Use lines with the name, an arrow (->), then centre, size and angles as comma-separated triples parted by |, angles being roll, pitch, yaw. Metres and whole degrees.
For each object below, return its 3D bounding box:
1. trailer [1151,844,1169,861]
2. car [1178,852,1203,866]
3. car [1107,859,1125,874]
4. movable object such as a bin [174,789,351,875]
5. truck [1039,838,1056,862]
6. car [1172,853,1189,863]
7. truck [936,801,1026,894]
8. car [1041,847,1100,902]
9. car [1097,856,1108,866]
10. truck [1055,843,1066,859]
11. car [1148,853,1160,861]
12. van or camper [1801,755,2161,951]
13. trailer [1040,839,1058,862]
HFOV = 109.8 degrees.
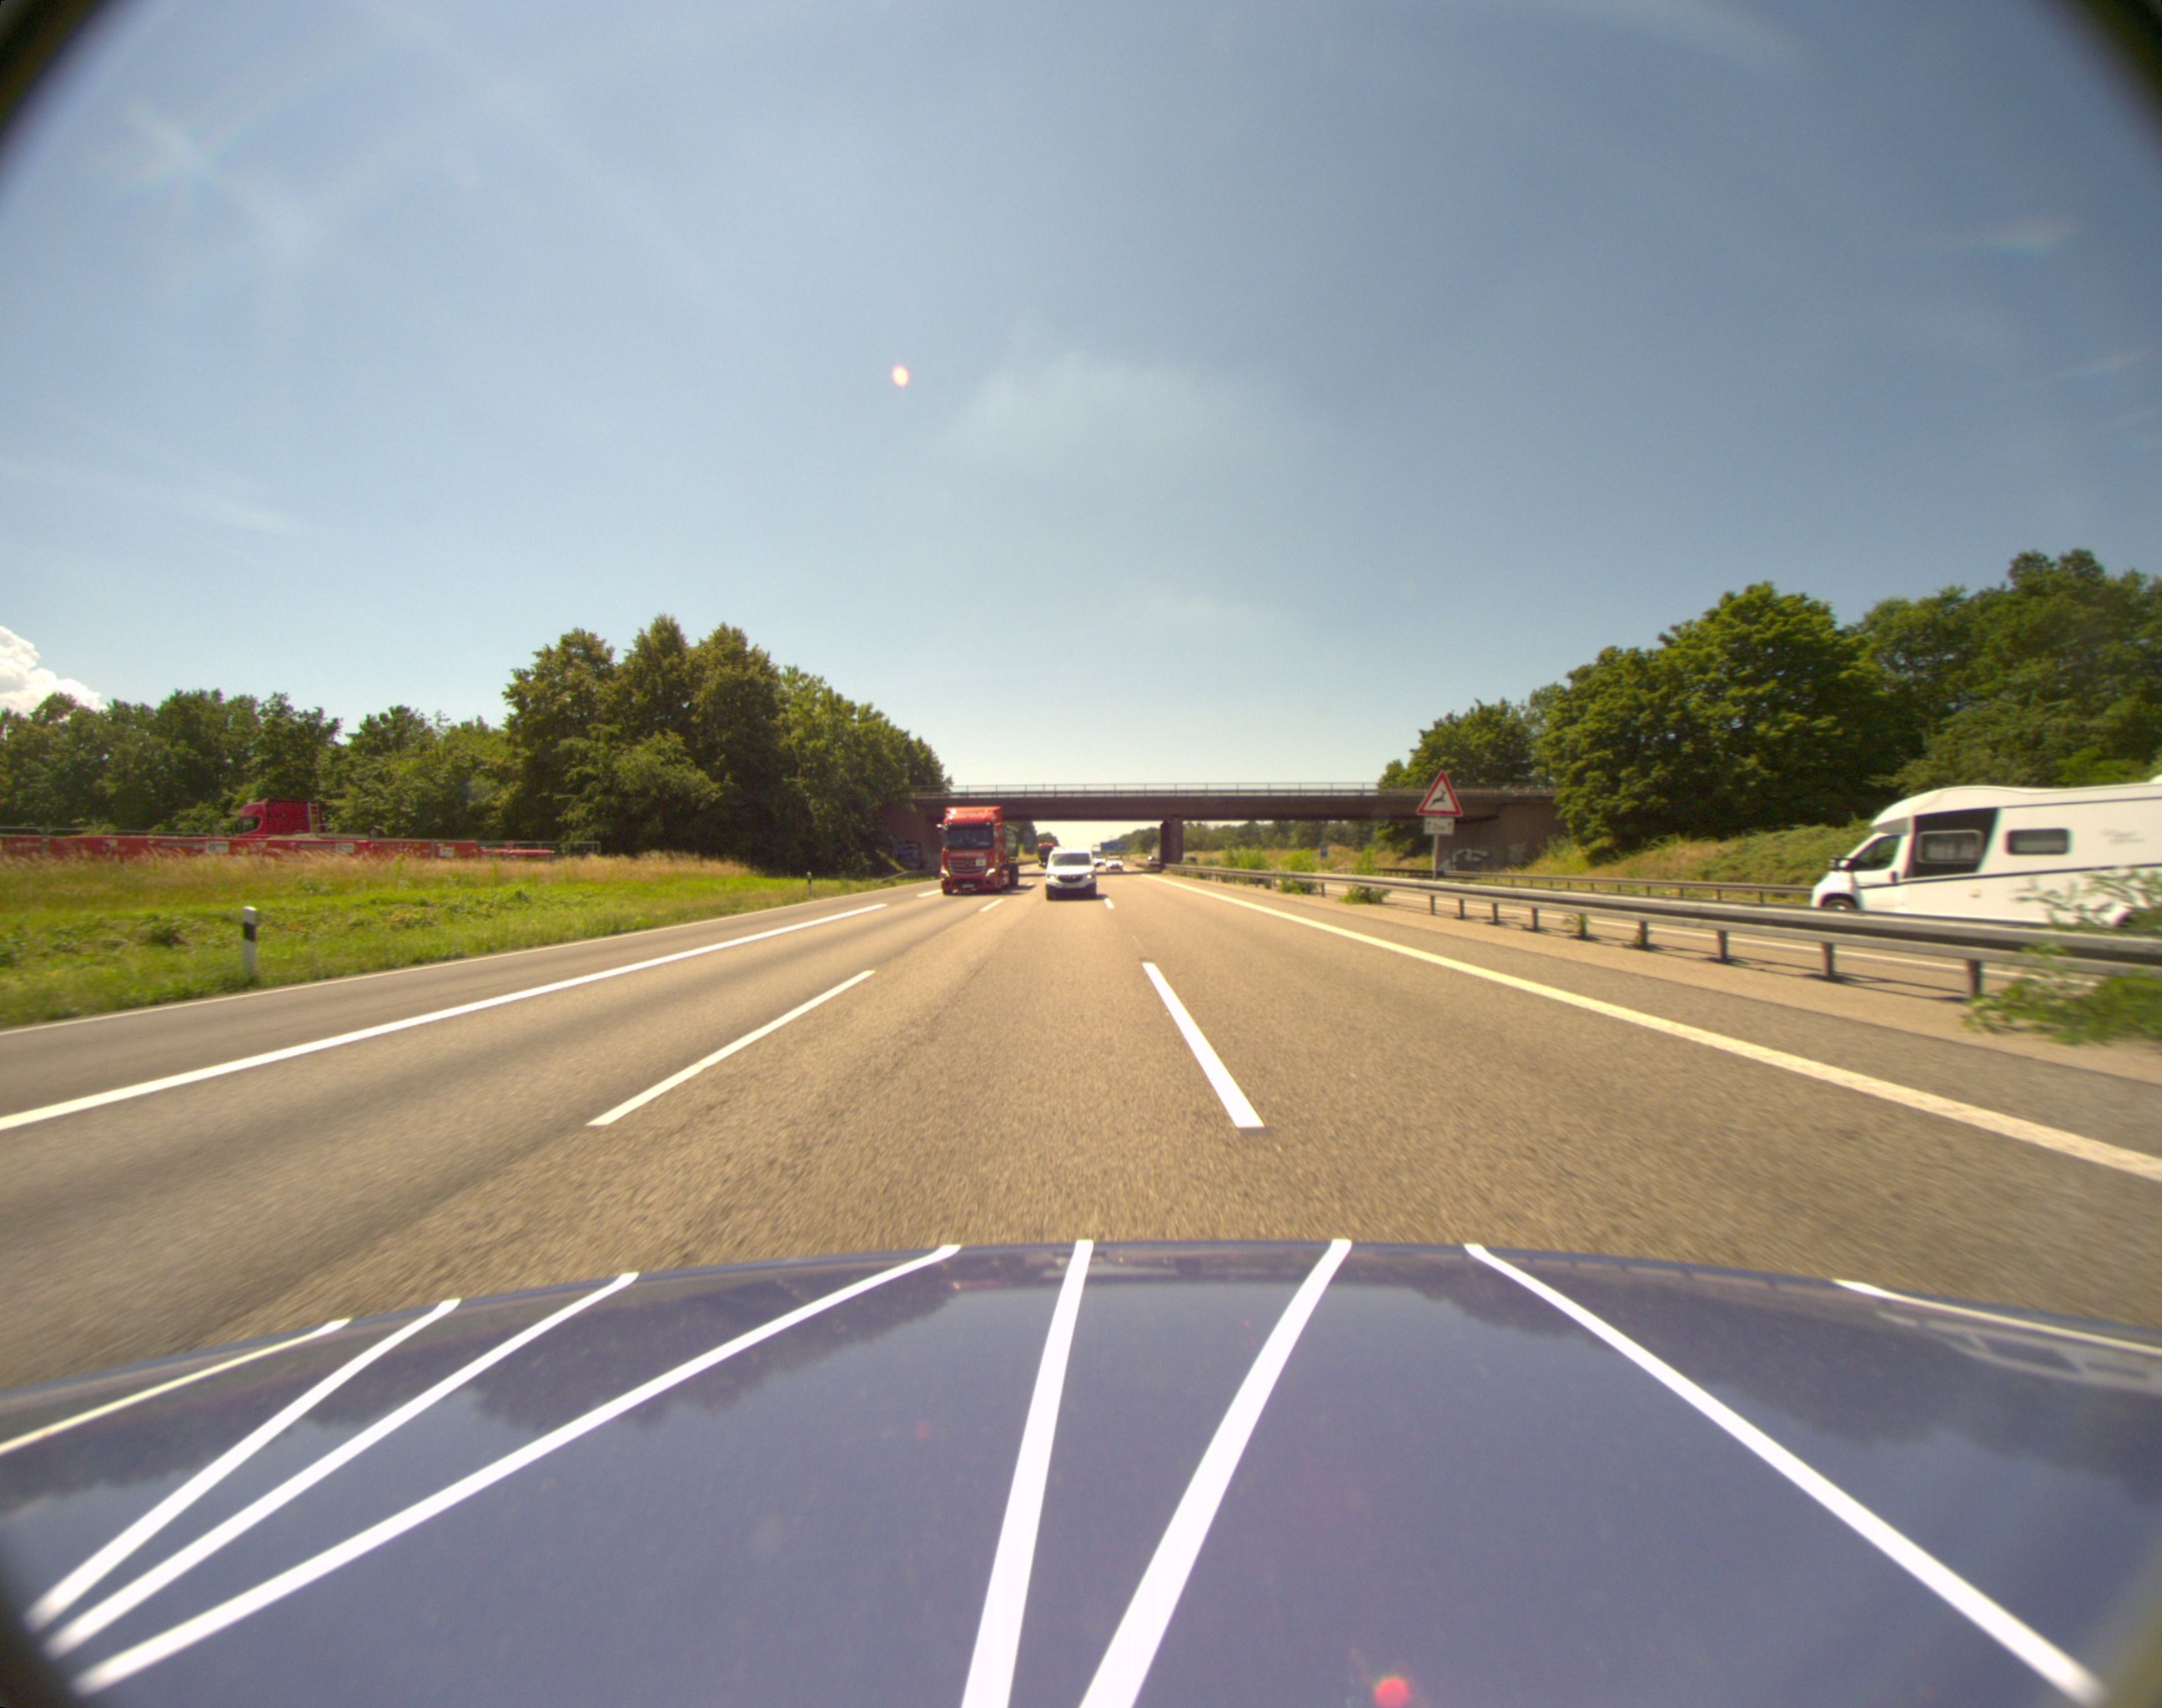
trailer -> 20.442, -0.372, 197.328 | 2.956, 4.084, 14.102 | 2, 0, 0
car -> 12.902, 0.583, 90.002 | 2.233, 1.601, 5.060 | 2, 0, 0
car -> 3.530, 1.256, 76.835 | 1.581, 1.411, 3.353 | -2, -1, 0
movable object such as a bin -> -44.258, -1.117, 41.248 | 5.921, 4.285, 3.817 | -2, 0, 10
truck -> -5.423, -0.590, 123.984 | 2.535, 3.712, 6.098 | -2, 0, 0
car -> 16.902, 0.659, 129.023 | 2.233, 1.601, 5.060 | 2, 0, 0
truck -> -4.606, -0.267, 37.749 | 2.688, 3.775, 12.478 | -2, 0, 0
car -> -0.307, 0.695, 28.348 | 1.870, 1.807, 4.942 | -2, 0, 2
car -> 3.350, 1.040, 117.455 | 1.582, 1.411, 3.353 | -2, -2, -1
truck -> -5.195, -0.690, 190.823 | 2.603, 3.979, 6.173 | -2, 0, 0
car -> 16.156, 0.599, 167.936 | 2.233, 1.601, 5.060 | 2, 0, 0
van or camper -> 16.685, -0.018, 12.030 | 2.508, 2.794, 8.561 | 0, 0, 1
trailer -> -5.398, -0.573, 130.199 | 2.535, 3.712, 11.548 | -2, 0, 0
